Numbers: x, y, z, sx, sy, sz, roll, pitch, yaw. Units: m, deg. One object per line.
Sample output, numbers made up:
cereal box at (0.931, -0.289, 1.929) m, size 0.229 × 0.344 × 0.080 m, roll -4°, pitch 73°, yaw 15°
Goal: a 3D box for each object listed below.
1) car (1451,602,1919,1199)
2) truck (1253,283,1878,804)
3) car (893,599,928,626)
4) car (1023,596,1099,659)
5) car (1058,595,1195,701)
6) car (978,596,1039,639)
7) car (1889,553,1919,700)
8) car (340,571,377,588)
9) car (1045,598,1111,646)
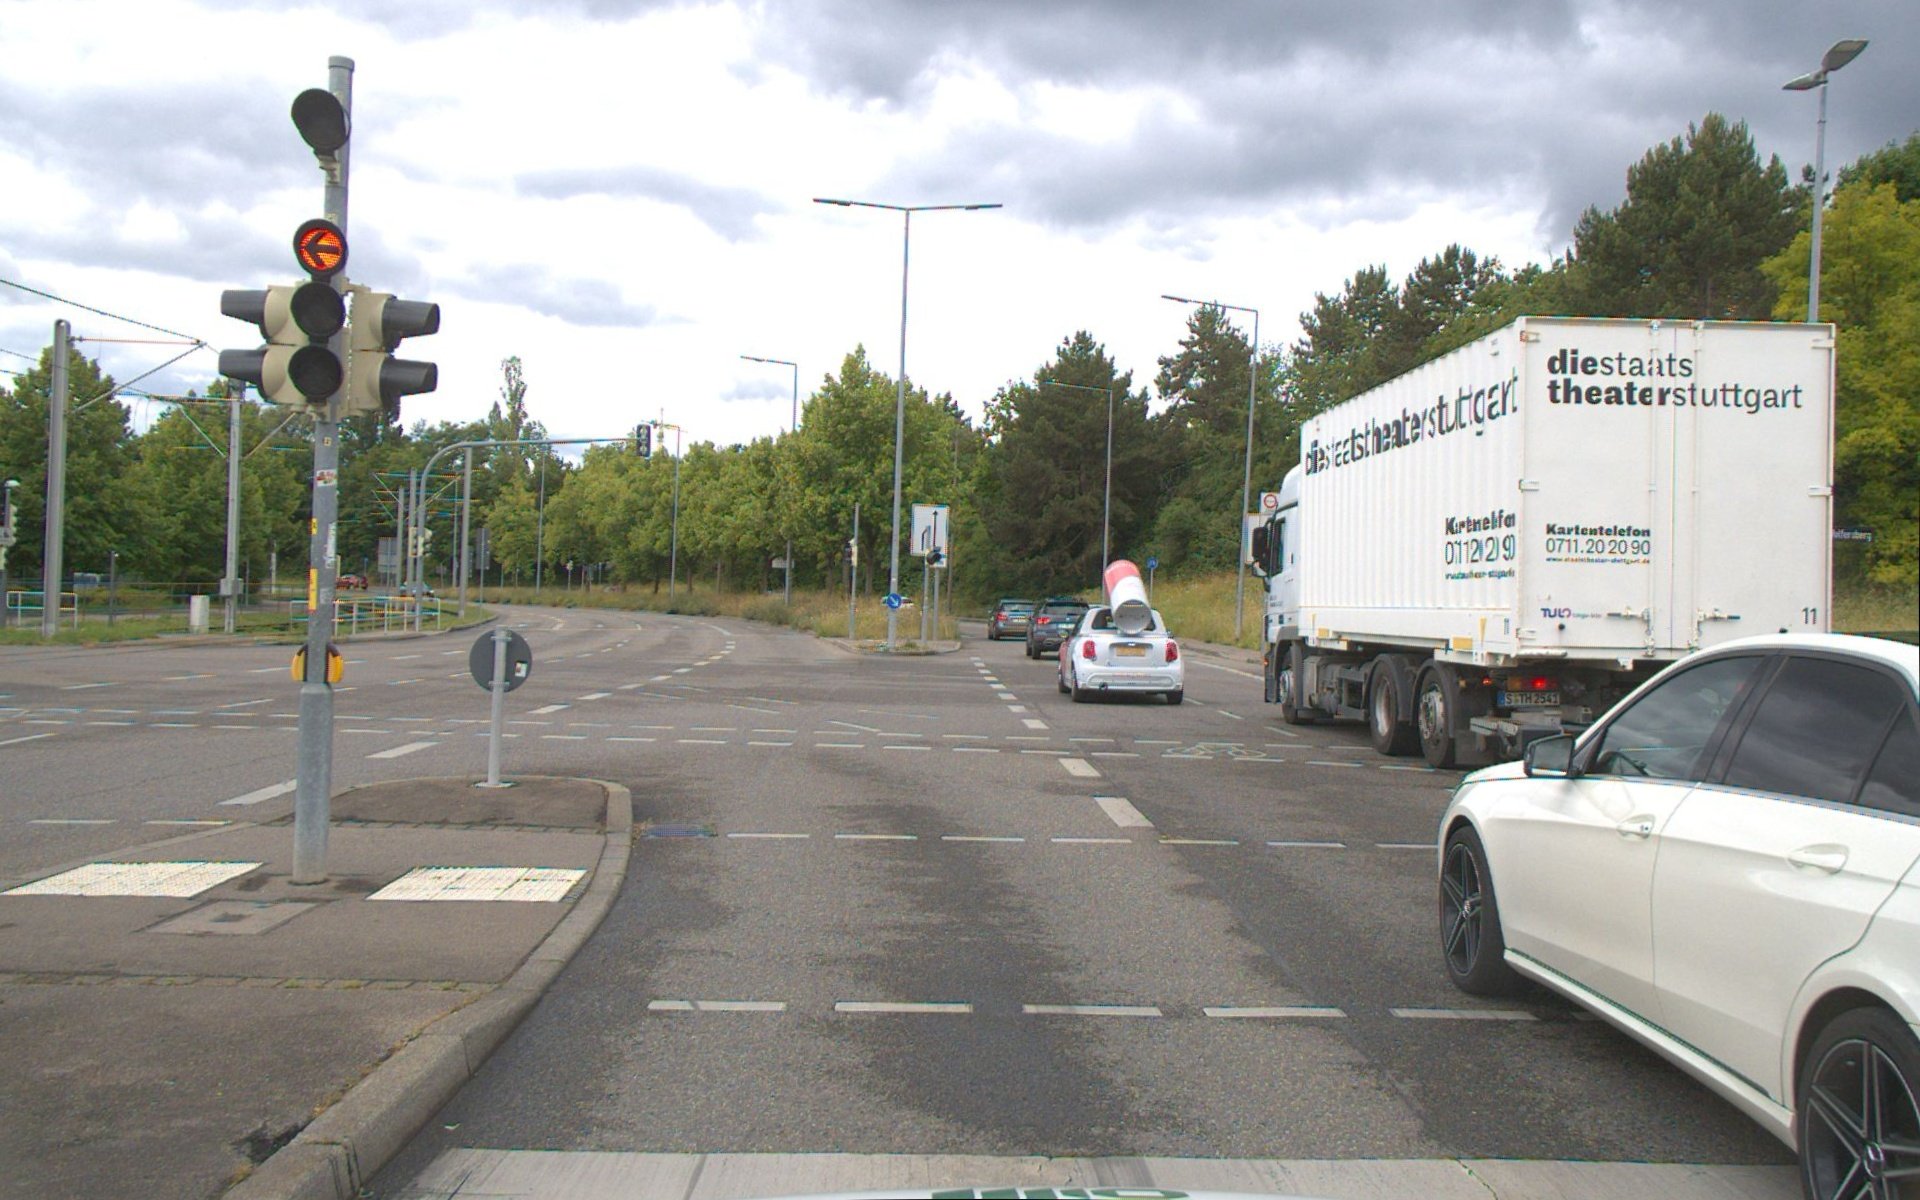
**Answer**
car at (2.888, 0.744, 4.549) m, size 1.763 × 1.436 × 4.317 m, roll 1°, pitch 0°, yaw 0°
truck at (5.578, -0.481, 17.850) m, size 2.746 × 3.971 × 10.179 m, roll 1°, pitch 1°, yaw -1°
car at (-2.937, 0.726, 97.363) m, size 1.808 × 1.533 × 4.526 m, roll 1°, pitch 0°, yaw -5°
car at (2.559, 0.673, 42.529) m, size 1.591 × 1.519 × 3.836 m, roll 1°, pitch 0°, yaw -2°
car at (2.556, 0.712, 26.119) m, size 1.784 × 1.532 × 3.494 m, roll 1°, pitch 0°, yaw 0°
car at (1.795, 0.649, 62.559) m, size 1.713 × 1.534 × 4.042 m, roll 1°, pitch 0°, yaw -7°
car at (20.311, 0.535, 30.070) m, size 5.685 × 2.676 × 2.000 m, roll 1°, pitch -1°, yaw 1°
car at (-61.106, -2.071, 168.002) m, size 3.813 × 1.631 × 1.782 m, roll 1°, pitch -1°, yaw 38°
car at (3.703, 0.662, 52.589) m, size 1.711 × 1.407 × 4.290 m, roll 1°, pitch 0°, yaw -1°
